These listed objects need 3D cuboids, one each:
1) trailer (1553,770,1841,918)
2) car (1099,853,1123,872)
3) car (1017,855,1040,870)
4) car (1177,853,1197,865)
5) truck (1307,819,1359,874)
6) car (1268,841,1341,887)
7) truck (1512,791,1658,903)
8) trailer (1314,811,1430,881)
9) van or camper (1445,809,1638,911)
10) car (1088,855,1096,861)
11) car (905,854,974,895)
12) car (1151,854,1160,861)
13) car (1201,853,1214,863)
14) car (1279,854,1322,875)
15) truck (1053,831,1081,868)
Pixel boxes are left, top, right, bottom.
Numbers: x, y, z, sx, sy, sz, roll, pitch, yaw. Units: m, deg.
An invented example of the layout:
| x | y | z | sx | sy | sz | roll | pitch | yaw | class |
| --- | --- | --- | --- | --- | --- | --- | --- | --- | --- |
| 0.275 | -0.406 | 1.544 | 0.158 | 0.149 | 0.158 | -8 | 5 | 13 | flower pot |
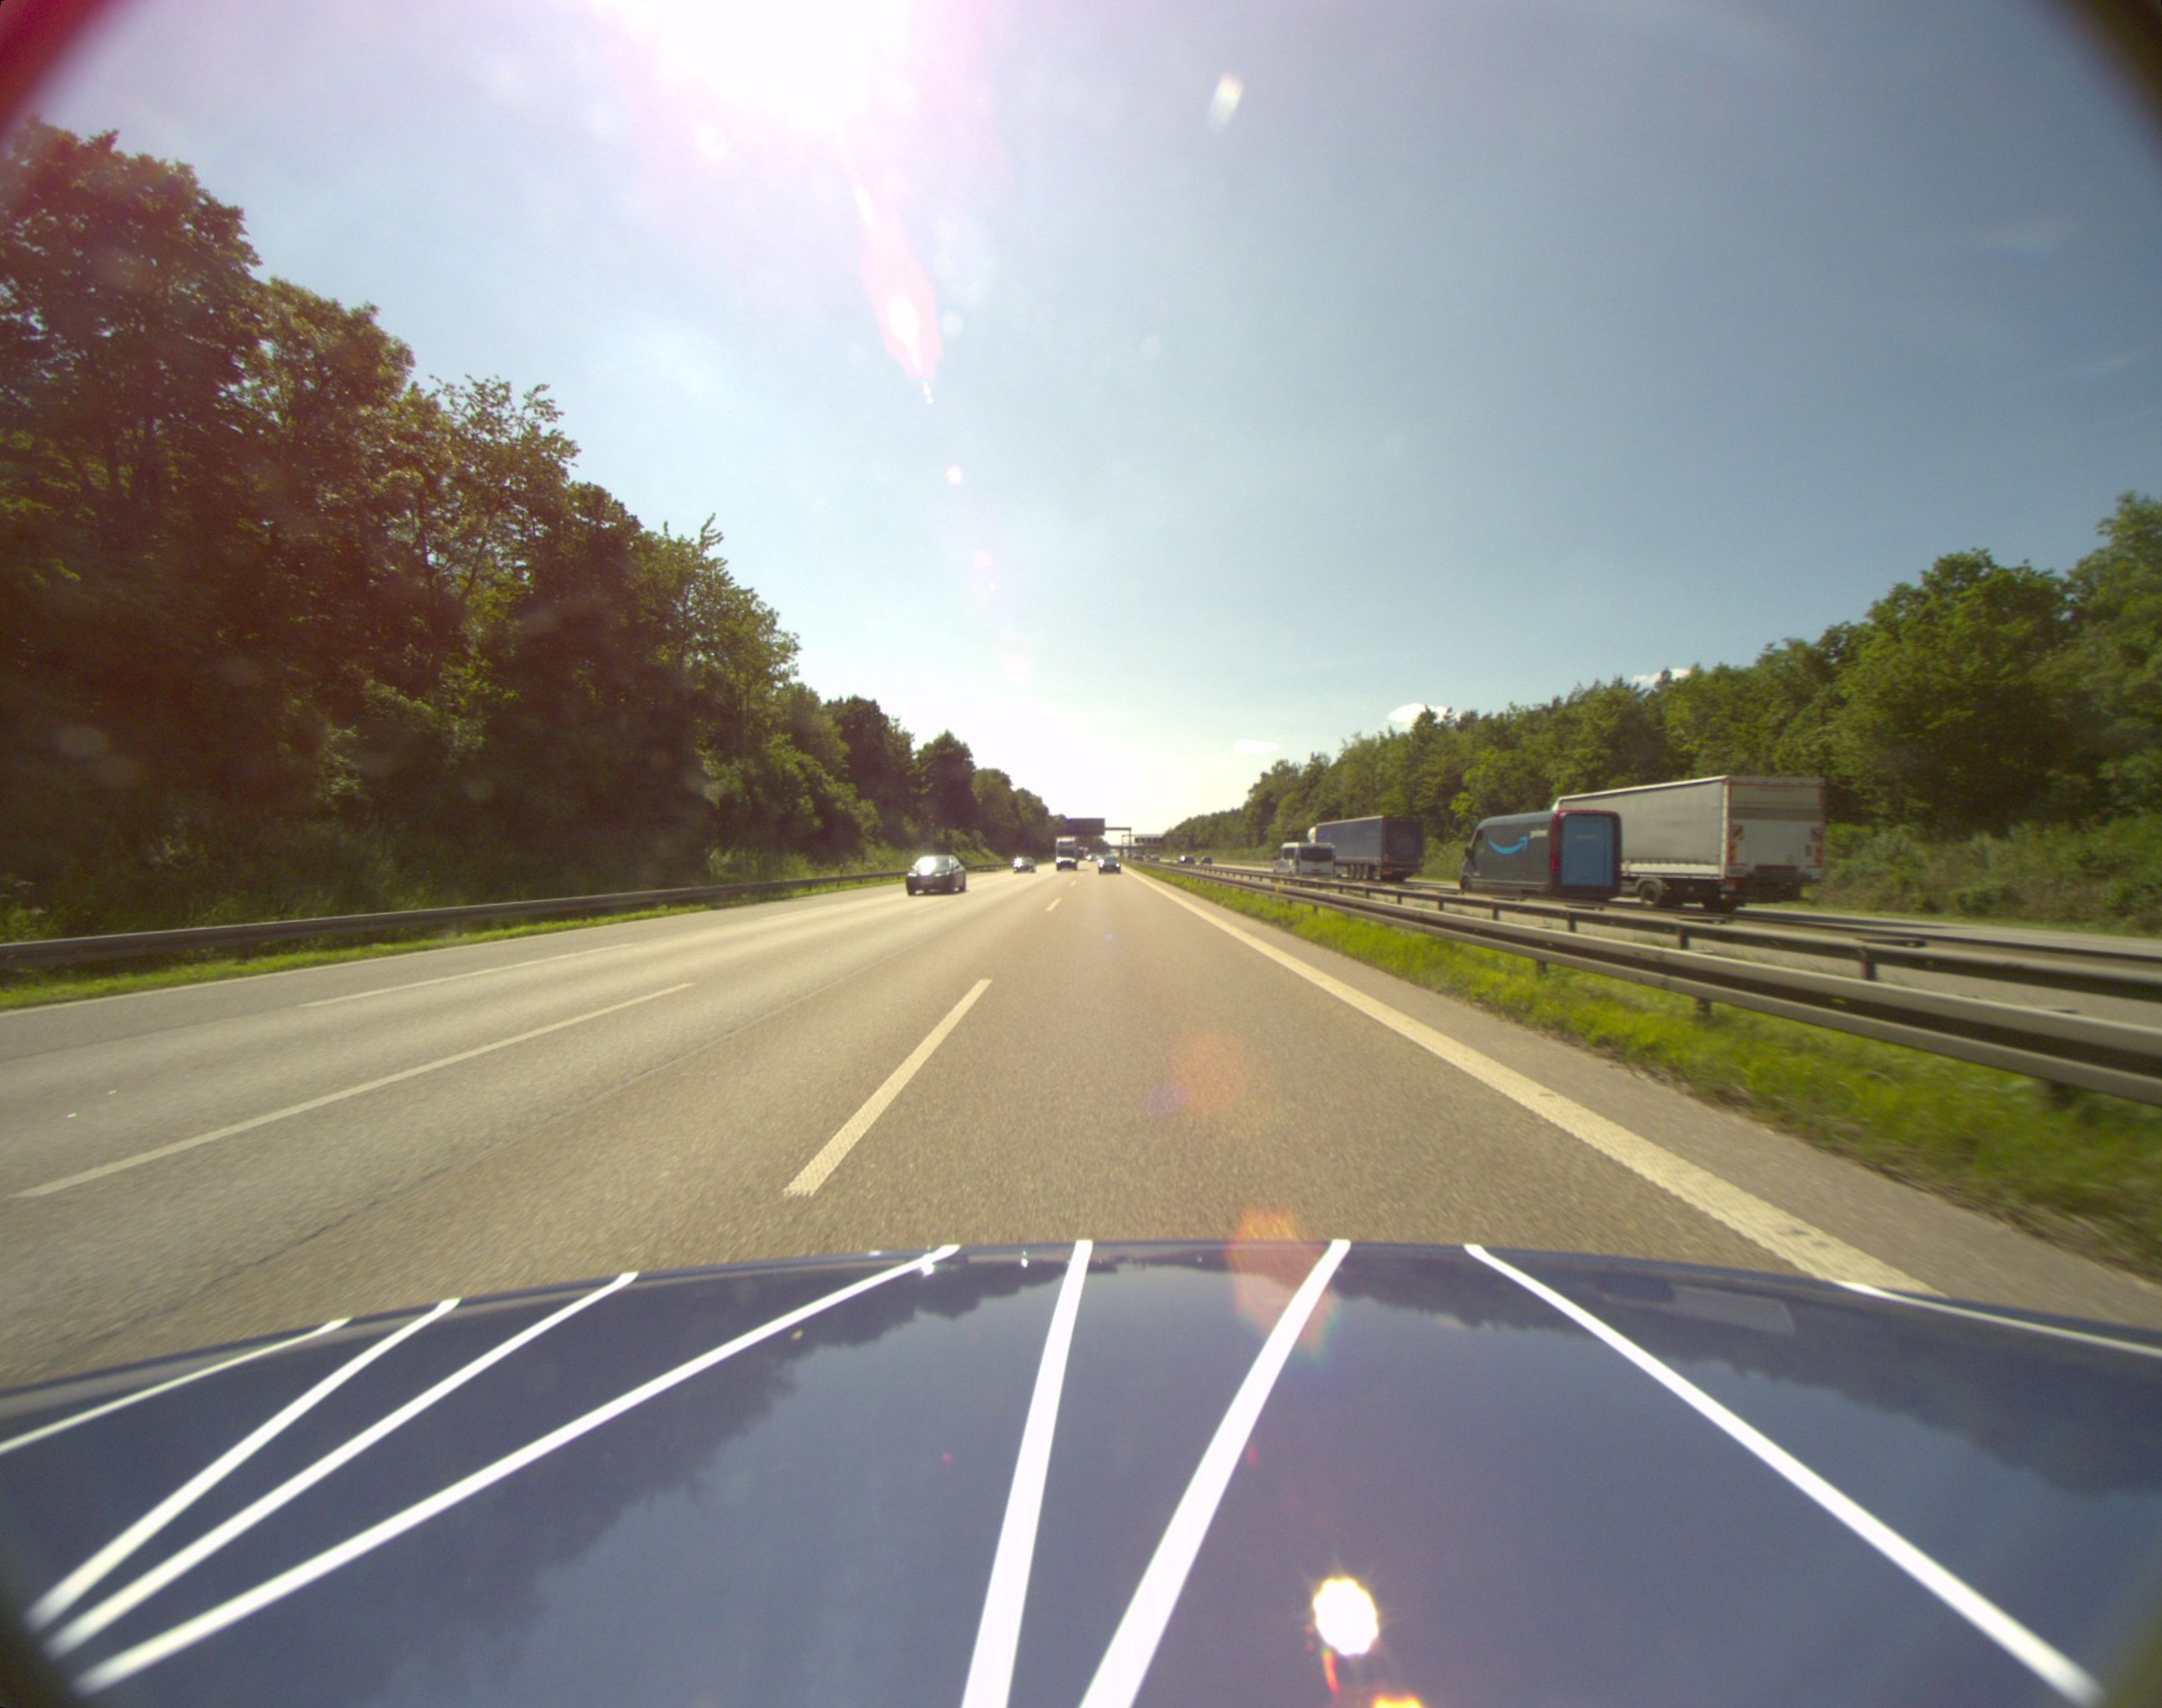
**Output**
| x | y | z | sx | sy | sz | roll | pitch | yaw | class |
| --- | --- | --- | --- | --- | --- | --- | --- | --- | --- |
| 18.484 | -0.273 | 23.690 | 2.719 | 3.787 | 7.692 | 1 | 0 | 1 | trailer |
| 2.383 | 0.676 | 61.173 | 1.814 | 1.483 | 3.729 | -1 | 0 | 1 | car |
| -5.025 | 0.796 | 73.201 | 1.916 | 1.390 | 4.138 | -1 | 0 | 1 | car |
| 12.536 | 0.614 | 90.441 | 1.812 | 1.397 | 4.819 | 0 | 0 | 1 | car |
| 19.448 | -0.541 | 58.789 | 2.621 | 4.035 | 4.000 | 2 | 1 | 1 | truck |
| 10.527 | 0.417 | 36.168 | 1.932 | 1.969 | 5.234 | 2 | 0 | 1 | car |
| 18.580 | -0.249 | 28.316 | 2.709 | 3.787 | 4.000 | 1 | 1 | 1 | truck |
| 19.347 | -0.498 | 51.957 | 2.621 | 4.034 | 14.168 | 2 | 0 | 1 | trailer |
| 14.458 | 0.158 | 24.580 | 2.202 | 2.795 | 6.797 | 2 | 0 | 2 | van or camper |
| 2.508 | 0.863 | 172.651 | 1.831 | 1.346 | 3.679 | 0 | 0 | 1 | car |
| -6.225 | 0.862 | 33.992 | 1.924 | 1.659 | 4.687 | -2 | 0 | 3 | car |
| 14.690 | 0.602 | 149.958 | 1.489 | 1.348 | 4.417 | 0 | 0 | 1 | car |
| 21.425 | 0.669 | 128.924 | 1.599 | 1.559 | 4.369 | 2 | 0 | 1 | car |
| 15.070 | 0.679 | 52.444 | 1.717 | 1.410 | 4.504 | 0 | 0 | 1 | car |
| -1.422 | -0.440 | 79.229 | 2.676 | 3.661 | 6.483 | -1 | 0 | 1 | truck |
